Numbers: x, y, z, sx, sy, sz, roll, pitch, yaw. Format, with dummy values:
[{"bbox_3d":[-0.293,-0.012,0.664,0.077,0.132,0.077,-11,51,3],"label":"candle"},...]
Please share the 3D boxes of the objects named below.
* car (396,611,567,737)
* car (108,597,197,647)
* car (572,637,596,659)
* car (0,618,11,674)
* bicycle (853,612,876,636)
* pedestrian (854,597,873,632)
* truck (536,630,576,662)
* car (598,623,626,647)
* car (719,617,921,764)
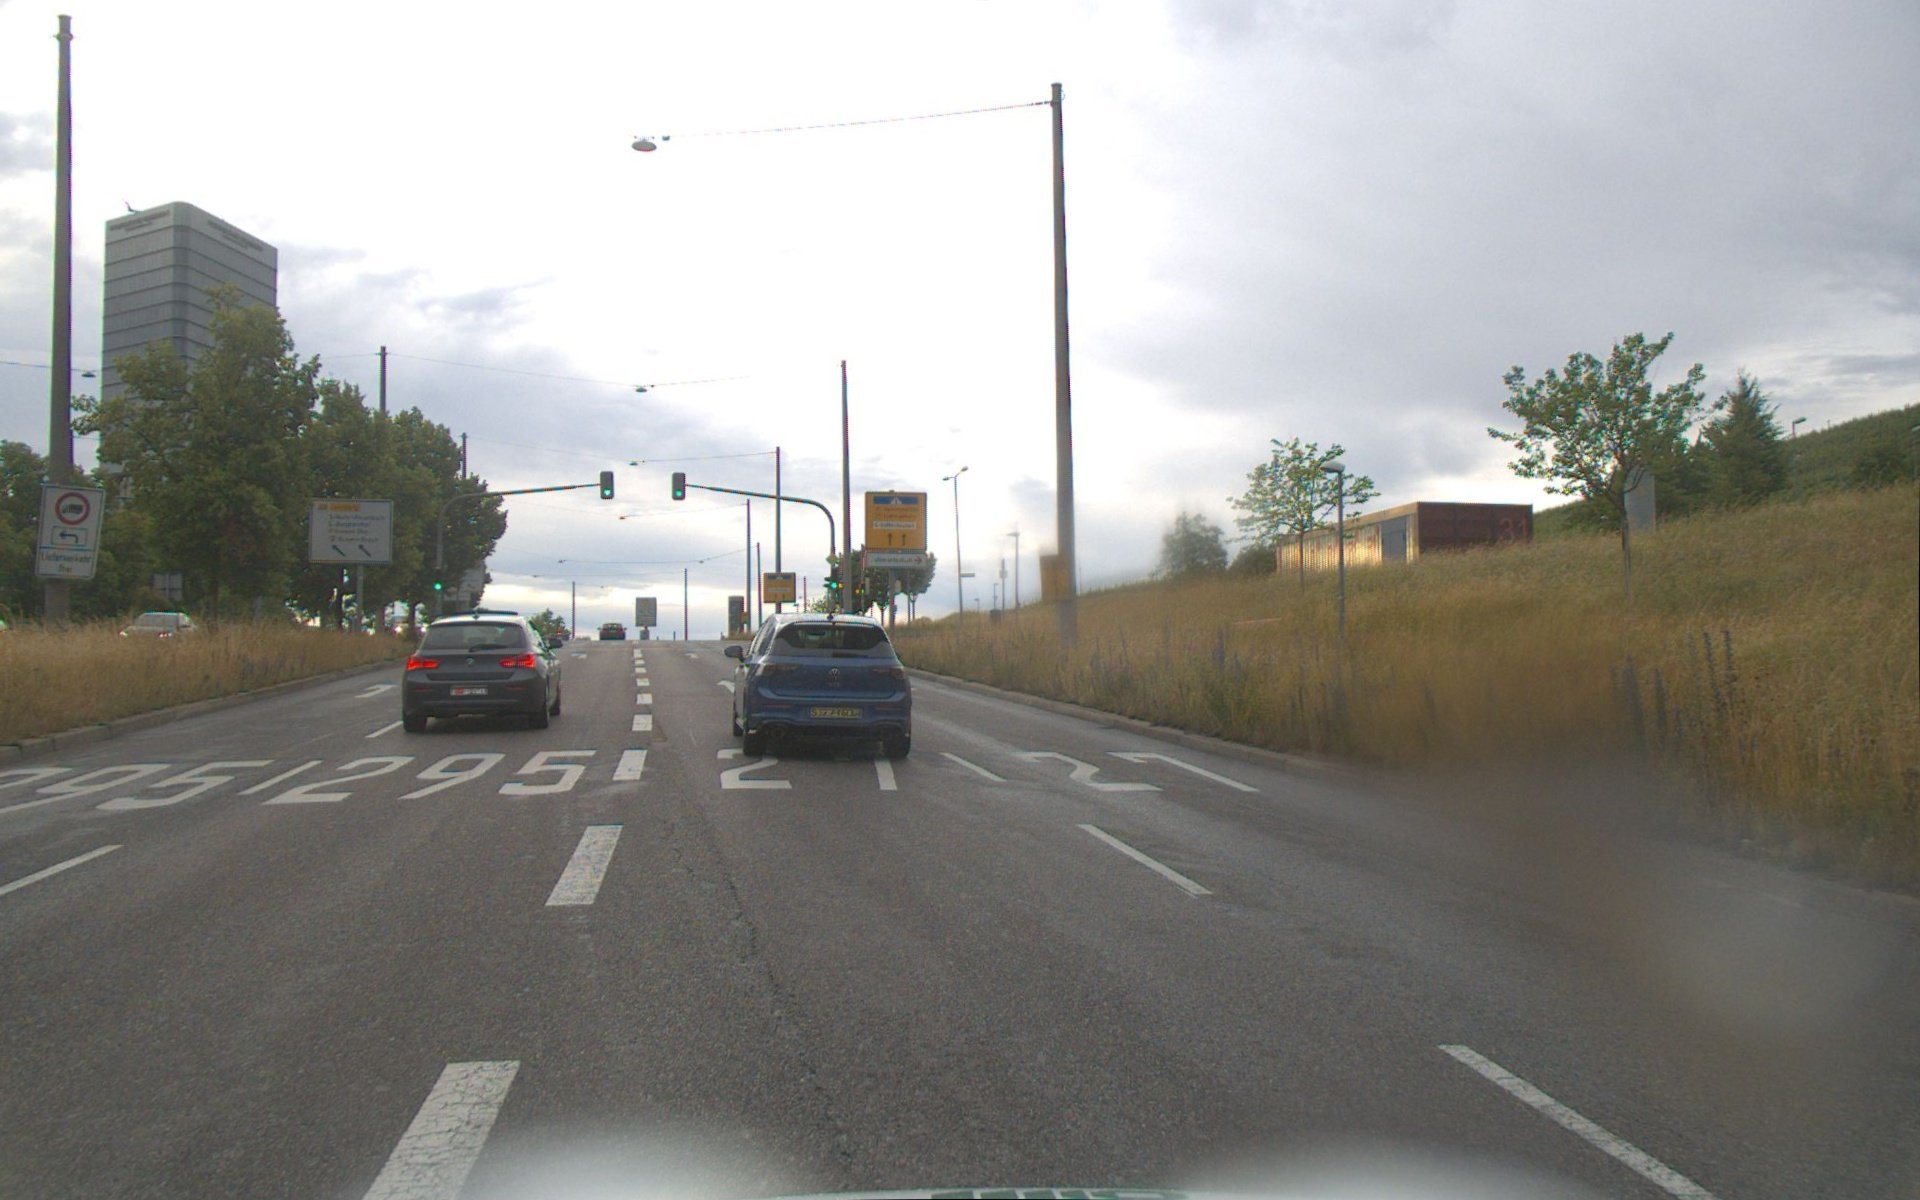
[{"bbox_3d":[-6.172,0.916,21.727,1.836,1.487,3.964,1,-1,-12],"label":"car"},{"bbox_3d":[-27.945,0.751,57.339,1.960,1.668,4.003,1,-1,-15],"label":"car"},{"bbox_3d":[-38.065,4.886,167.176,1.875,2.008,5.064,0,-4,-19],"label":"car"},{"bbox_3d":[-28.779,1.337,47.252,1.830,1.648,3.984,1,0,-15],"label":"car"},{"bbox_3d":[-4.470,1.115,77.066,0.623,1.124,1.743,0,-1,-19],"label":"bicycle"},{"bbox_3d":[-4.499,0.689,77.105,0.623,1.598,0.890,-1,-1,-19],"label":"pedestrian"},{"bbox_3d":[-44.594,5.083,182.357,2.636,3.277,6.486,3,-4,-28],"label":"truck"},{"bbox_3d":[-24.330,2.455,115.725,1.690,1.568,3.695,2,-1,-9],"label":"car"},{"bbox_3d":[-1.649,0.920,18.231,1.805,1.418,3.989,1,-1,-11],"label":"car"}]
